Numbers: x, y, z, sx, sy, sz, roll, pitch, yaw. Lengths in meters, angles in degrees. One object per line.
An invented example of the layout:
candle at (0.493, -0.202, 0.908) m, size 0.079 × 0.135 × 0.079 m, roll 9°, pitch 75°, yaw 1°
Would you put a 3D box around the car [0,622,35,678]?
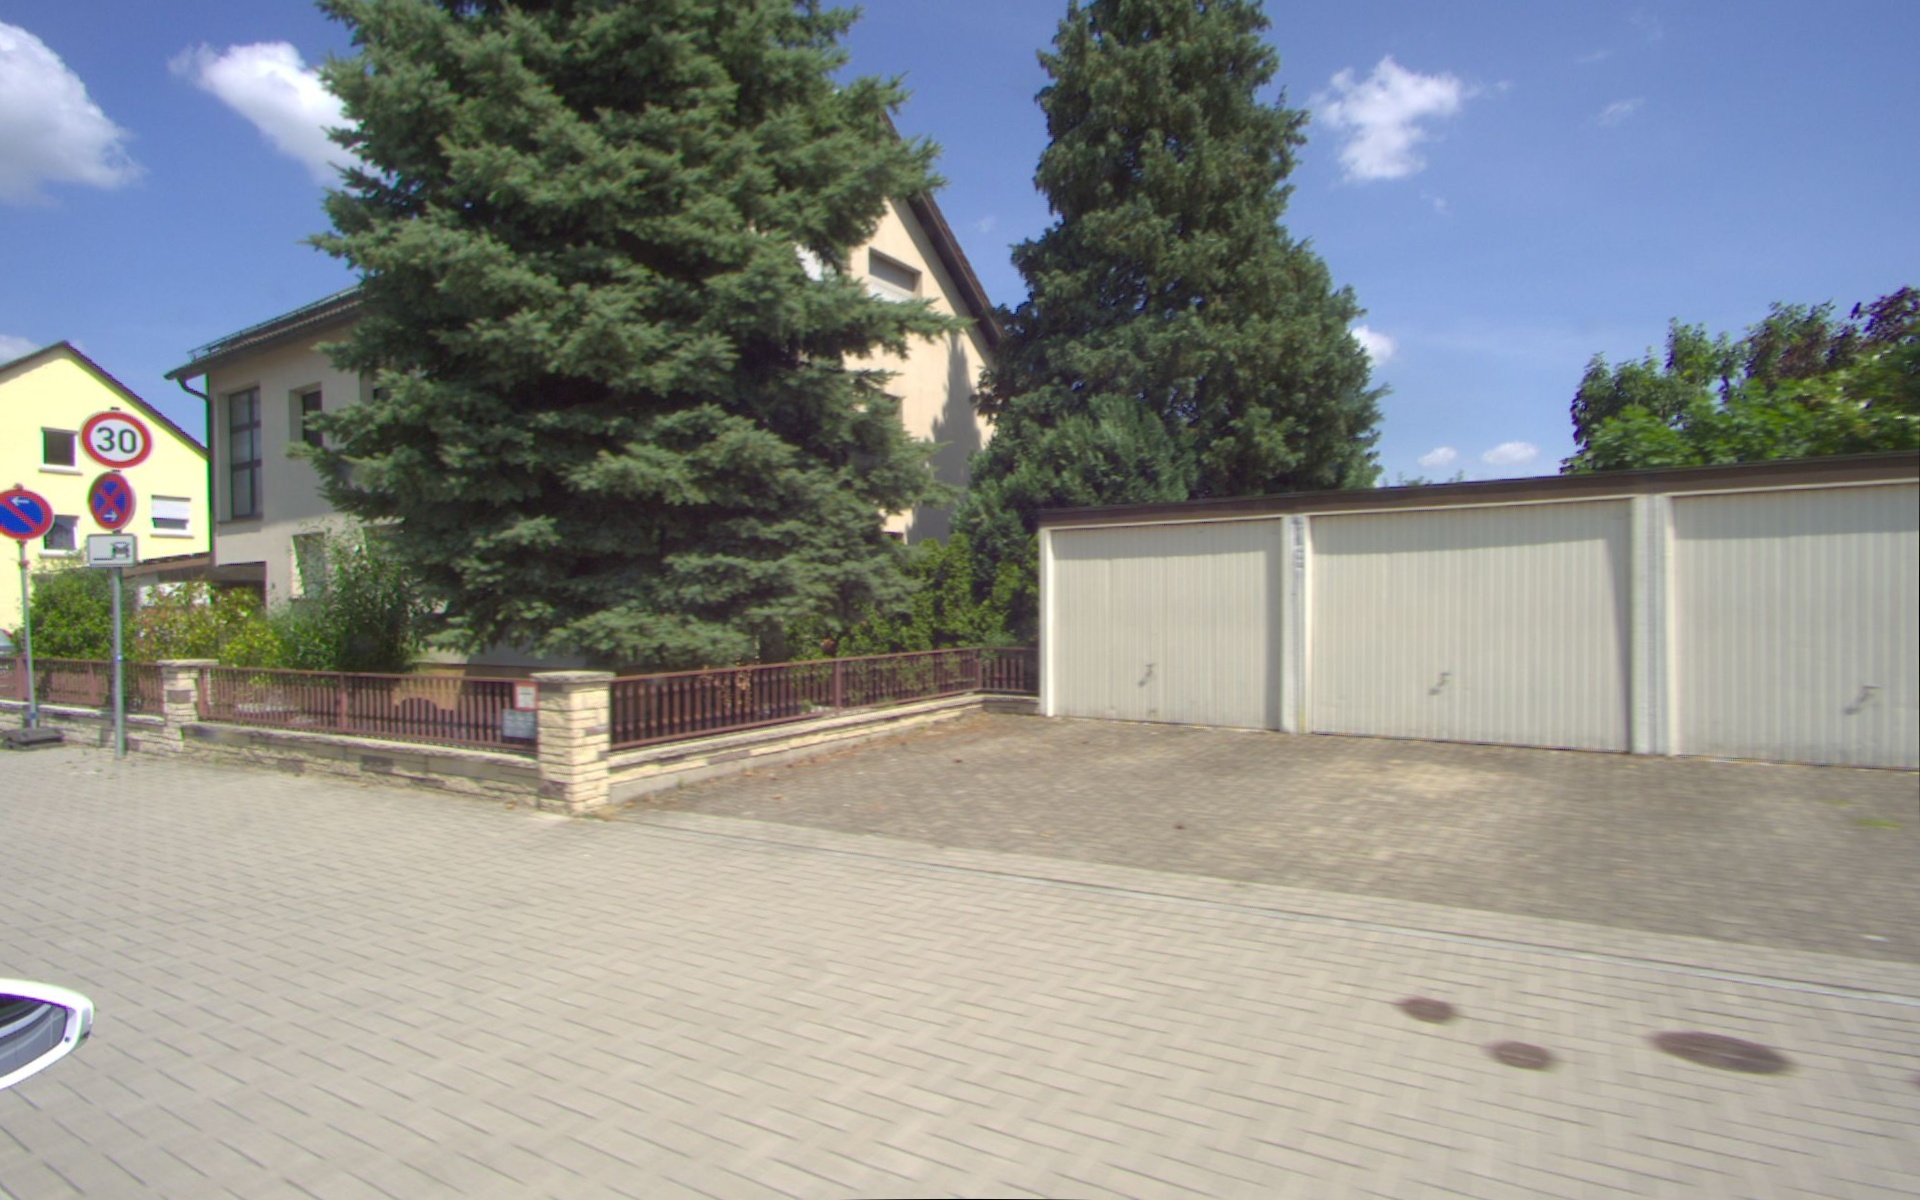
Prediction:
car at (-27.193, 1.369, 26.291) m, size 1.722 × 1.492 × 3.978 m, roll -1°, pitch 0°, yaw 32°
